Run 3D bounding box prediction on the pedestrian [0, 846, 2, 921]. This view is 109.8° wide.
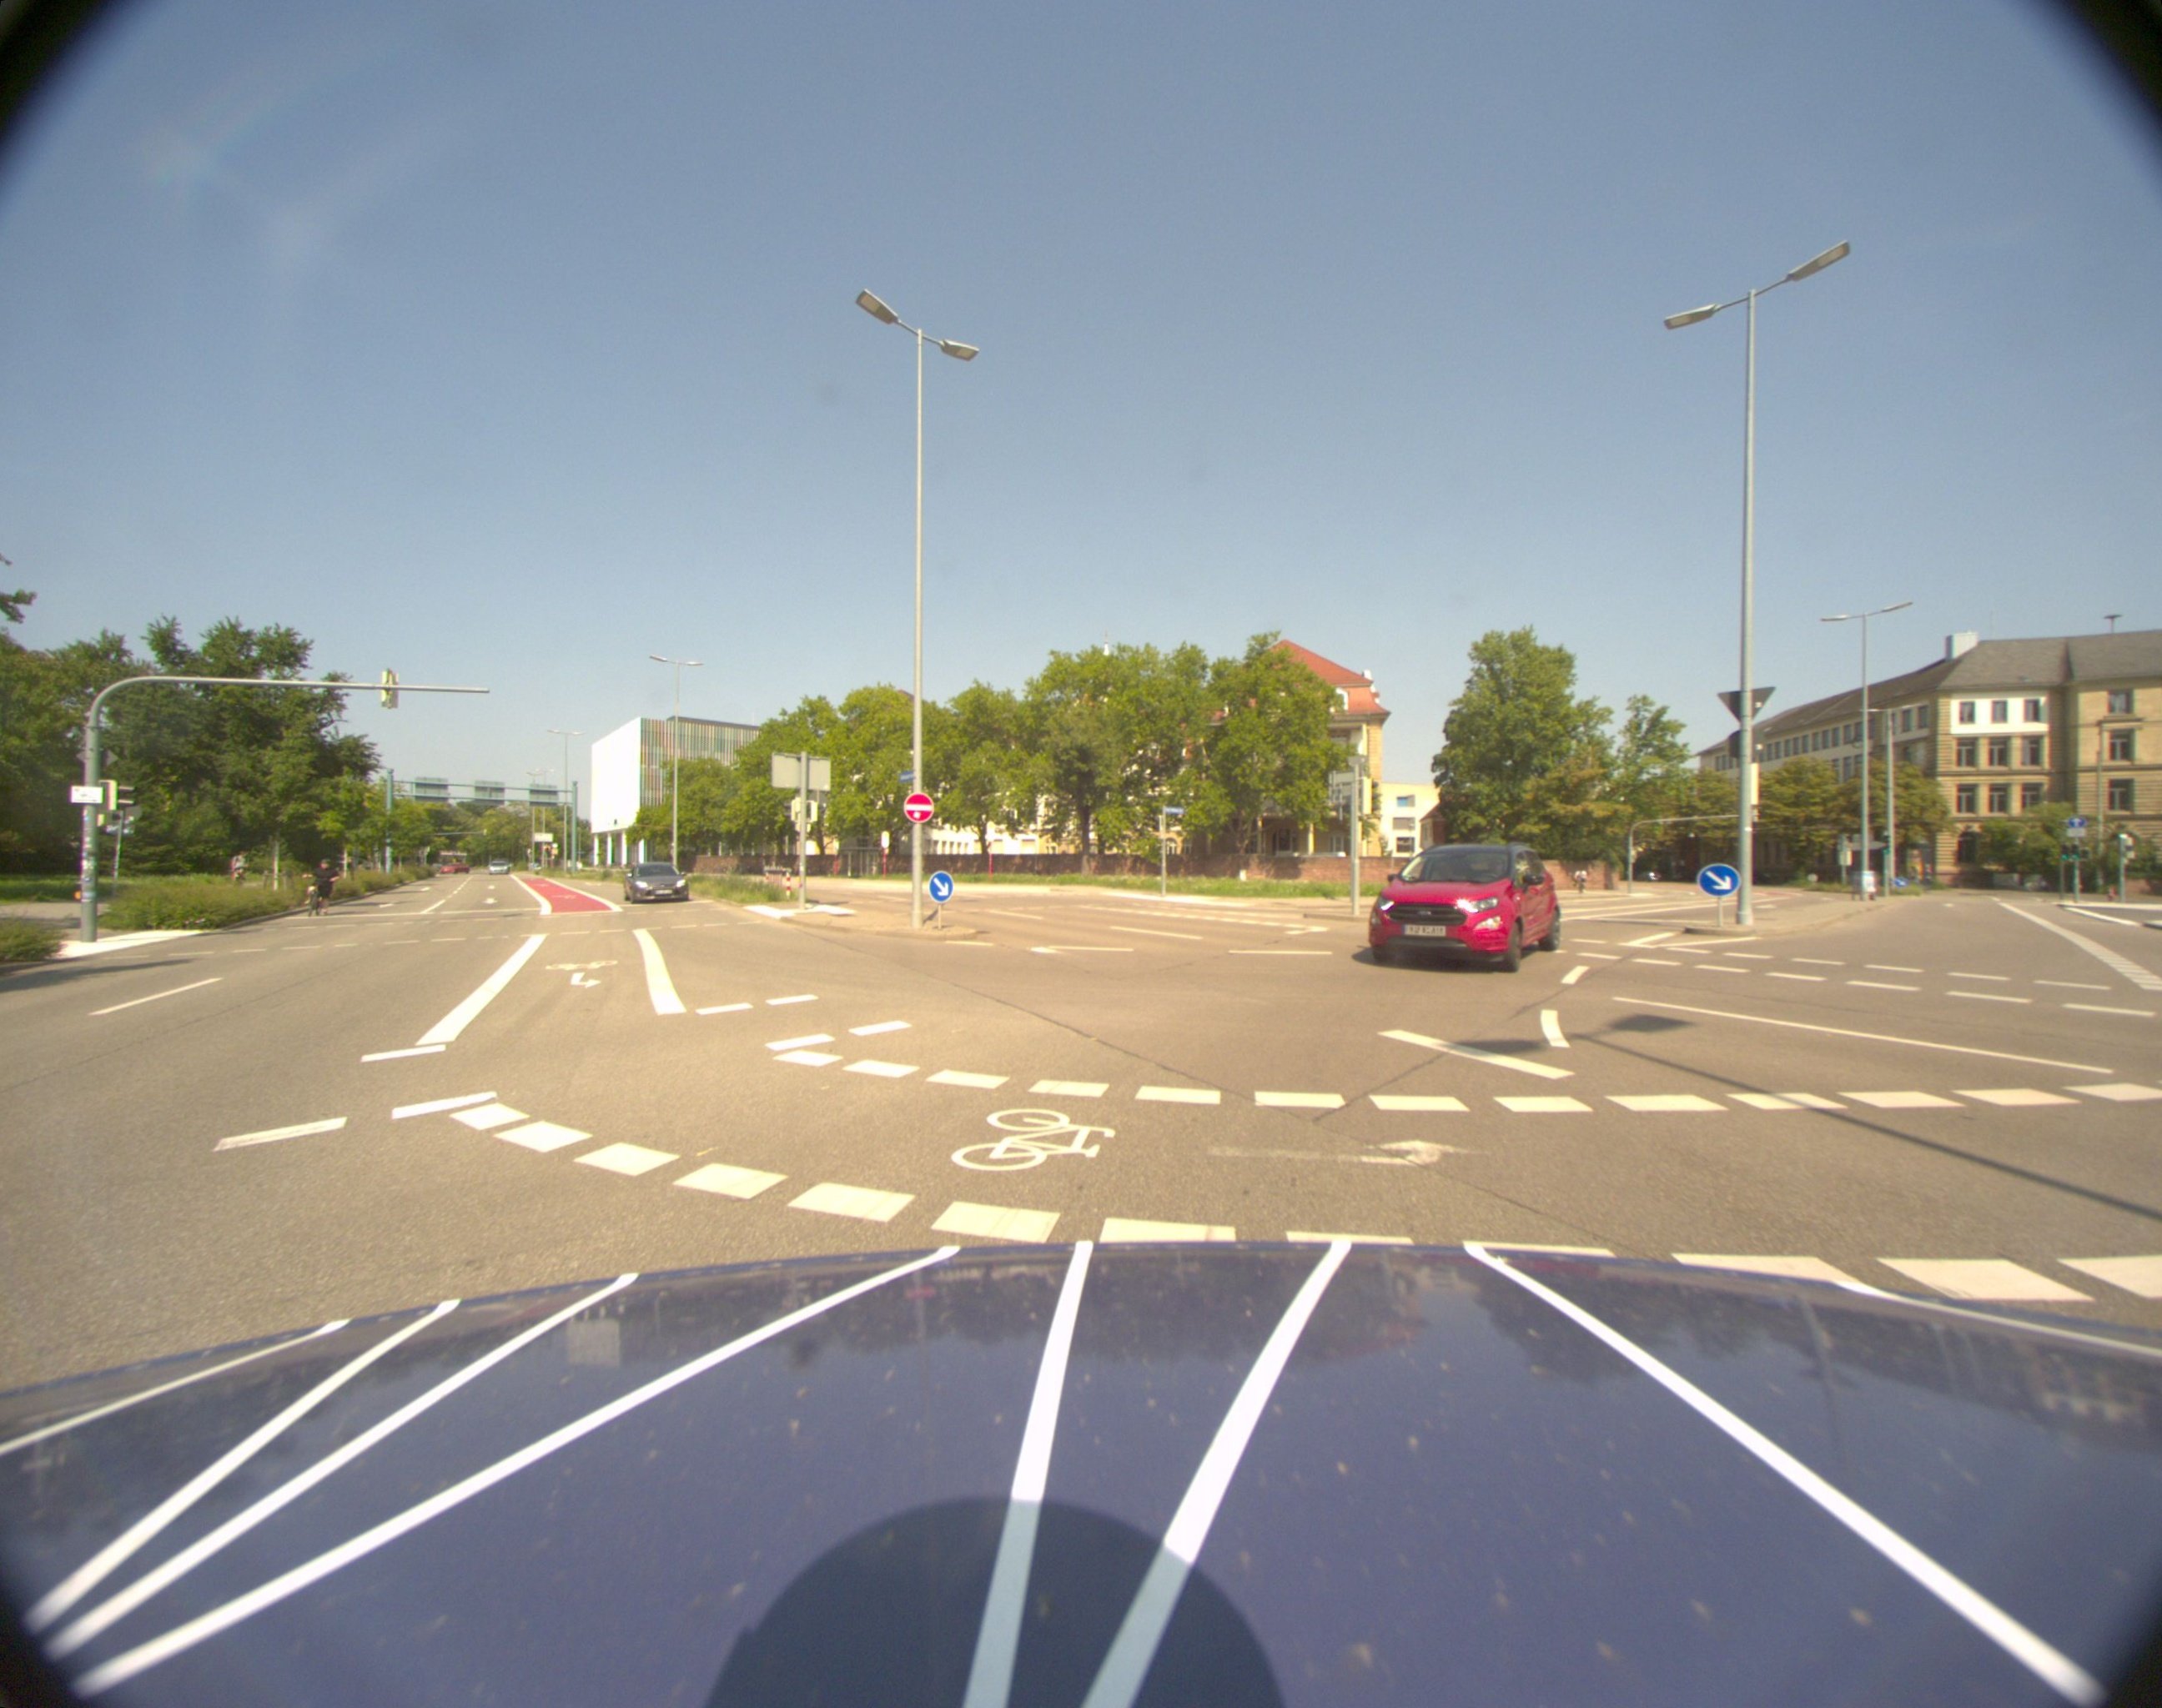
[{"bbox_3d":[-25.287,0.684,17.287,0.695,1.761,0.586,1,0,-37],"label":"pedestrian"}]

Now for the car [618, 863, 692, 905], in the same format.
[{"bbox_3d":[-15.410,1.047,27.431,1.795,1.349,3.414,-1,1,-38],"label":"car"}]

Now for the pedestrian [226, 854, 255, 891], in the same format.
[{"bbox_3d":[-40.847,0.888,36.955,0.795,1.758,0.824,0,0,-37],"label":"pedestrian"}]

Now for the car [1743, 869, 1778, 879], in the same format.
[{"bbox_3d":[83.990,2.485,93.962,3.053,1.169,1.253,1,0,9],"label":"car"}]

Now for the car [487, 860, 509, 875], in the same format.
[{"bbox_3d":[-67.779,1.522,88.396,2.004,1.668,3.989,0,0,-38],"label":"car"}]

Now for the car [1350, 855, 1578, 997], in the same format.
[{"bbox_3d":[5.514,0.820,10.680,1.840,1.605,4.009,1,0,42],"label":"car"}]

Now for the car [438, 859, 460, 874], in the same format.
[{"bbox_3d":[-83.712,1.655,100.646,2.089,1.905,4.183,1,-1,-42],"label":"car"}]

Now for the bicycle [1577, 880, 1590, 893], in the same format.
[{"bbox_3d":[33.381,2.128,50.462,1.489,0.807,0.436,1,0,-44],"label":"bicycle"}]

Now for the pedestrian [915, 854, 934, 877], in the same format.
[{"bbox_3d":[-13.799,0.983,67.137,1.231,2.001,1.074,1,0,30],"label":"pedestrian"}]

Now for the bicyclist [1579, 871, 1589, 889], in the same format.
[{"bbox_3d":[33.446,1.724,50.520,0.542,1.225,0.432,1,0,-44],"label":"bicyclist"}]

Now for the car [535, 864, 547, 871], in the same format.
[{"bbox_3d":[-97.506,2.489,137.241,1.594,1.130,3.254,1,-1,-37],"label":"car"}]

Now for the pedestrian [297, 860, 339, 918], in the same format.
[{"bbox_3d":[-22.239,1.001,22.171,0.782,1.659,0.547,1,0,-37],"label":"pedestrian"}]

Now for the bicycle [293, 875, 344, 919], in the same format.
[{"bbox_3d":[-22.300,1.240,22.252,0.788,1.205,1.784,1,0,-37],"label":"bicycle"}]
